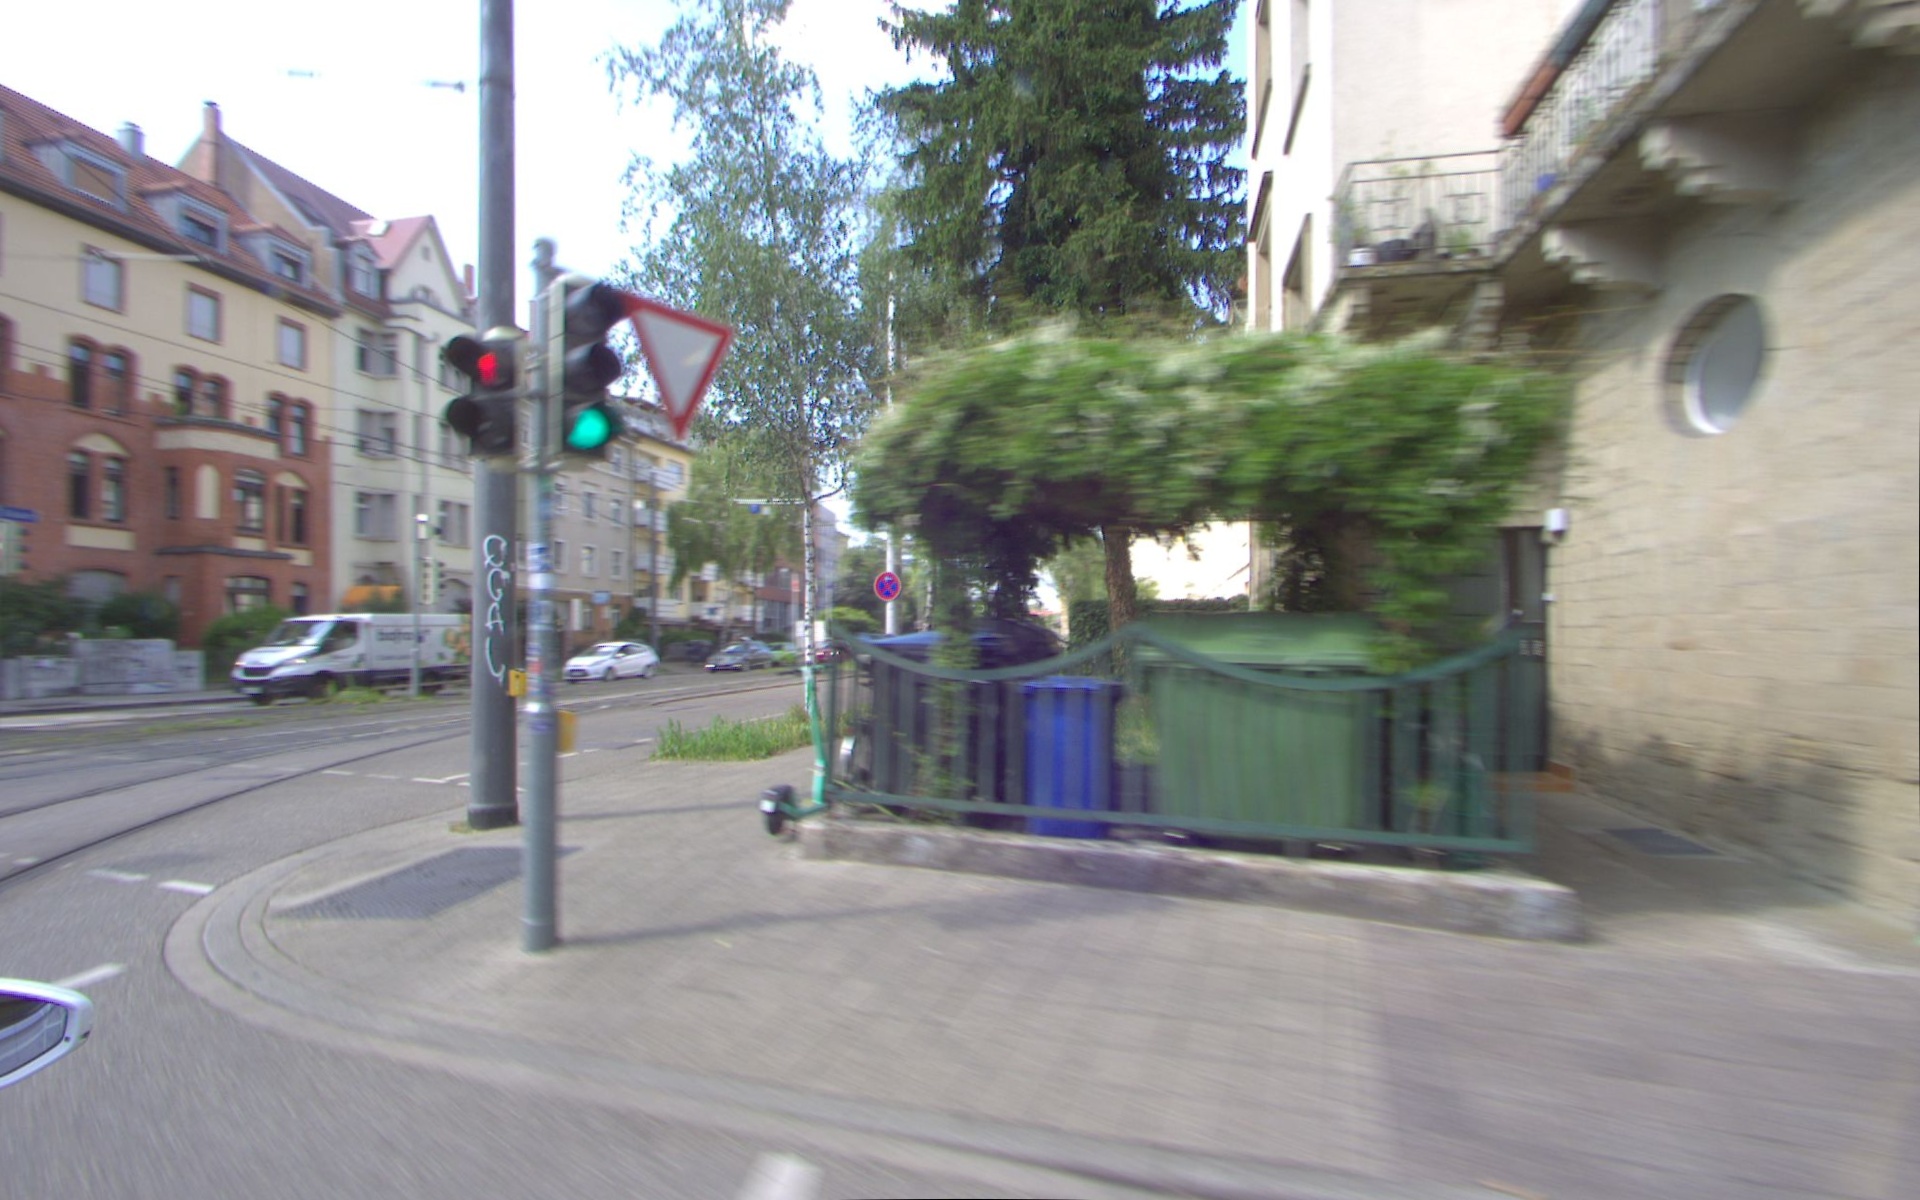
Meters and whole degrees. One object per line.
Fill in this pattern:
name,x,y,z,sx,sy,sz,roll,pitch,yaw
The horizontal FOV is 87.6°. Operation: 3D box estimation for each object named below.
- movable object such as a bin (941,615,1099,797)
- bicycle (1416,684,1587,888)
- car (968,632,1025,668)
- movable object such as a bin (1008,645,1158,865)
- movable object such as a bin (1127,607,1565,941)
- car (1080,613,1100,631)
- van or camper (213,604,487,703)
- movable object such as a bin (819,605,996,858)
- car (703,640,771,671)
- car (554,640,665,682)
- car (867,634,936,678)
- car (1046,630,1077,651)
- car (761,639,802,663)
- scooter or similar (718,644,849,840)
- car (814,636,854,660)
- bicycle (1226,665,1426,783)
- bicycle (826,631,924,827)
movable object such as a bin,0.611,0.859,8.992,1.034,1.431,2.098,-1,-1,14
bicycle,3.446,1.114,6.522,0.502,1.013,1.845,-1,-1,13
car,1.664,2.183,44.451,1.870,1.404,3.811,2,-1,12
movable object such as a bin,0.776,0.882,6.123,0.648,1.190,1.029,-1,-1,23
movable object such as a bin,2.072,0.840,5.572,2.065,1.559,1.050,-1,-1,23
car,14.003,2.364,107.749,1.870,1.821,3.811,2,-1,12
van or camper,-15.763,1.367,26.521,2.206,2.282,6.542,0,-2,14
movable object such as a bin,-0.314,0.789,6.362,0.964,1.491,0.716,-1,-1,13
car,-10.530,2.614,47.570,2.192,1.389,3.982,0,-2,2
car,-12.929,2.220,37.234,1.901,1.457,4.016,-1,-2,17
car,-2.306,2.208,40.472,1.870,1.595,3.811,2,-1,12
car,7.456,2.961,73.148,1.870,1.404,3.811,2,-1,12
car,-10.669,3.022,60.050,1.537,1.403,3.188,0,-2,8
scooter or similar,-1.211,0.939,7.059,0.455,1.232,1.197,0,-1,14
car,-7.833,2.992,62.637,1.683,1.460,3.354,0,-2,8
bicycle,3.345,1.122,9.274,1.686,1.013,0.511,-1,-1,14
bicycle,-0.625,0.922,7.877,0.272,1.346,1.833,0,-1,11
